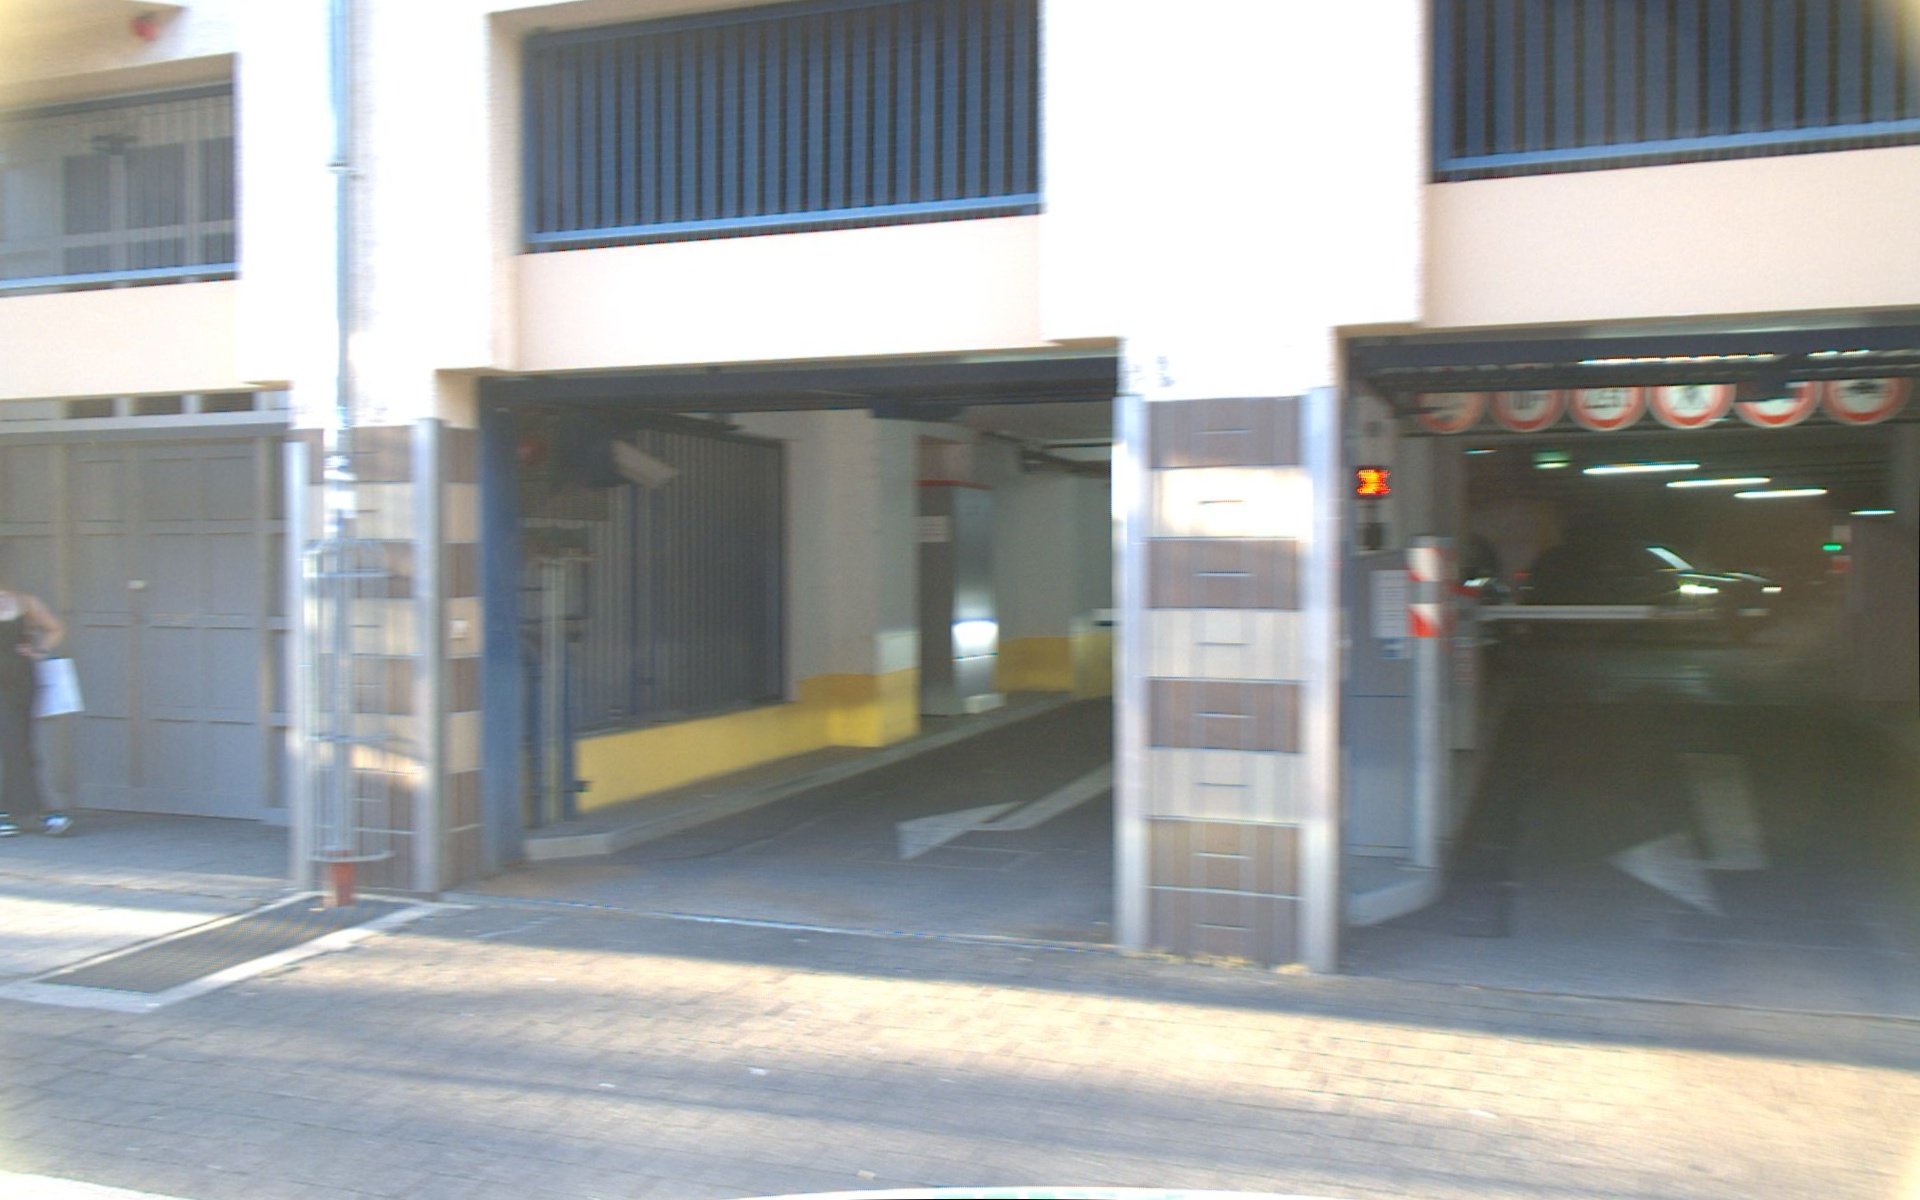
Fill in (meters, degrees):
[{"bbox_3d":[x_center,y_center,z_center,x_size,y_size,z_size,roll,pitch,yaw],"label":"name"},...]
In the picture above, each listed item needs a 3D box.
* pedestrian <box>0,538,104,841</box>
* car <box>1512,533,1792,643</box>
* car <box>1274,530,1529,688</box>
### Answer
[{"bbox_3d":[-5.154,0.466,8.992,0.772,1.600,0.525,-1,1,-42],"label":"pedestrian"},{"bbox_3d":[11.225,-0.239,27.163,1.858,1.652,4.274,-1,2,-21],"label":"car"},{"bbox_3d":[5.204,0.015,19.088,1.779,1.600,4.243,0,2,30],"label":"car"}]
